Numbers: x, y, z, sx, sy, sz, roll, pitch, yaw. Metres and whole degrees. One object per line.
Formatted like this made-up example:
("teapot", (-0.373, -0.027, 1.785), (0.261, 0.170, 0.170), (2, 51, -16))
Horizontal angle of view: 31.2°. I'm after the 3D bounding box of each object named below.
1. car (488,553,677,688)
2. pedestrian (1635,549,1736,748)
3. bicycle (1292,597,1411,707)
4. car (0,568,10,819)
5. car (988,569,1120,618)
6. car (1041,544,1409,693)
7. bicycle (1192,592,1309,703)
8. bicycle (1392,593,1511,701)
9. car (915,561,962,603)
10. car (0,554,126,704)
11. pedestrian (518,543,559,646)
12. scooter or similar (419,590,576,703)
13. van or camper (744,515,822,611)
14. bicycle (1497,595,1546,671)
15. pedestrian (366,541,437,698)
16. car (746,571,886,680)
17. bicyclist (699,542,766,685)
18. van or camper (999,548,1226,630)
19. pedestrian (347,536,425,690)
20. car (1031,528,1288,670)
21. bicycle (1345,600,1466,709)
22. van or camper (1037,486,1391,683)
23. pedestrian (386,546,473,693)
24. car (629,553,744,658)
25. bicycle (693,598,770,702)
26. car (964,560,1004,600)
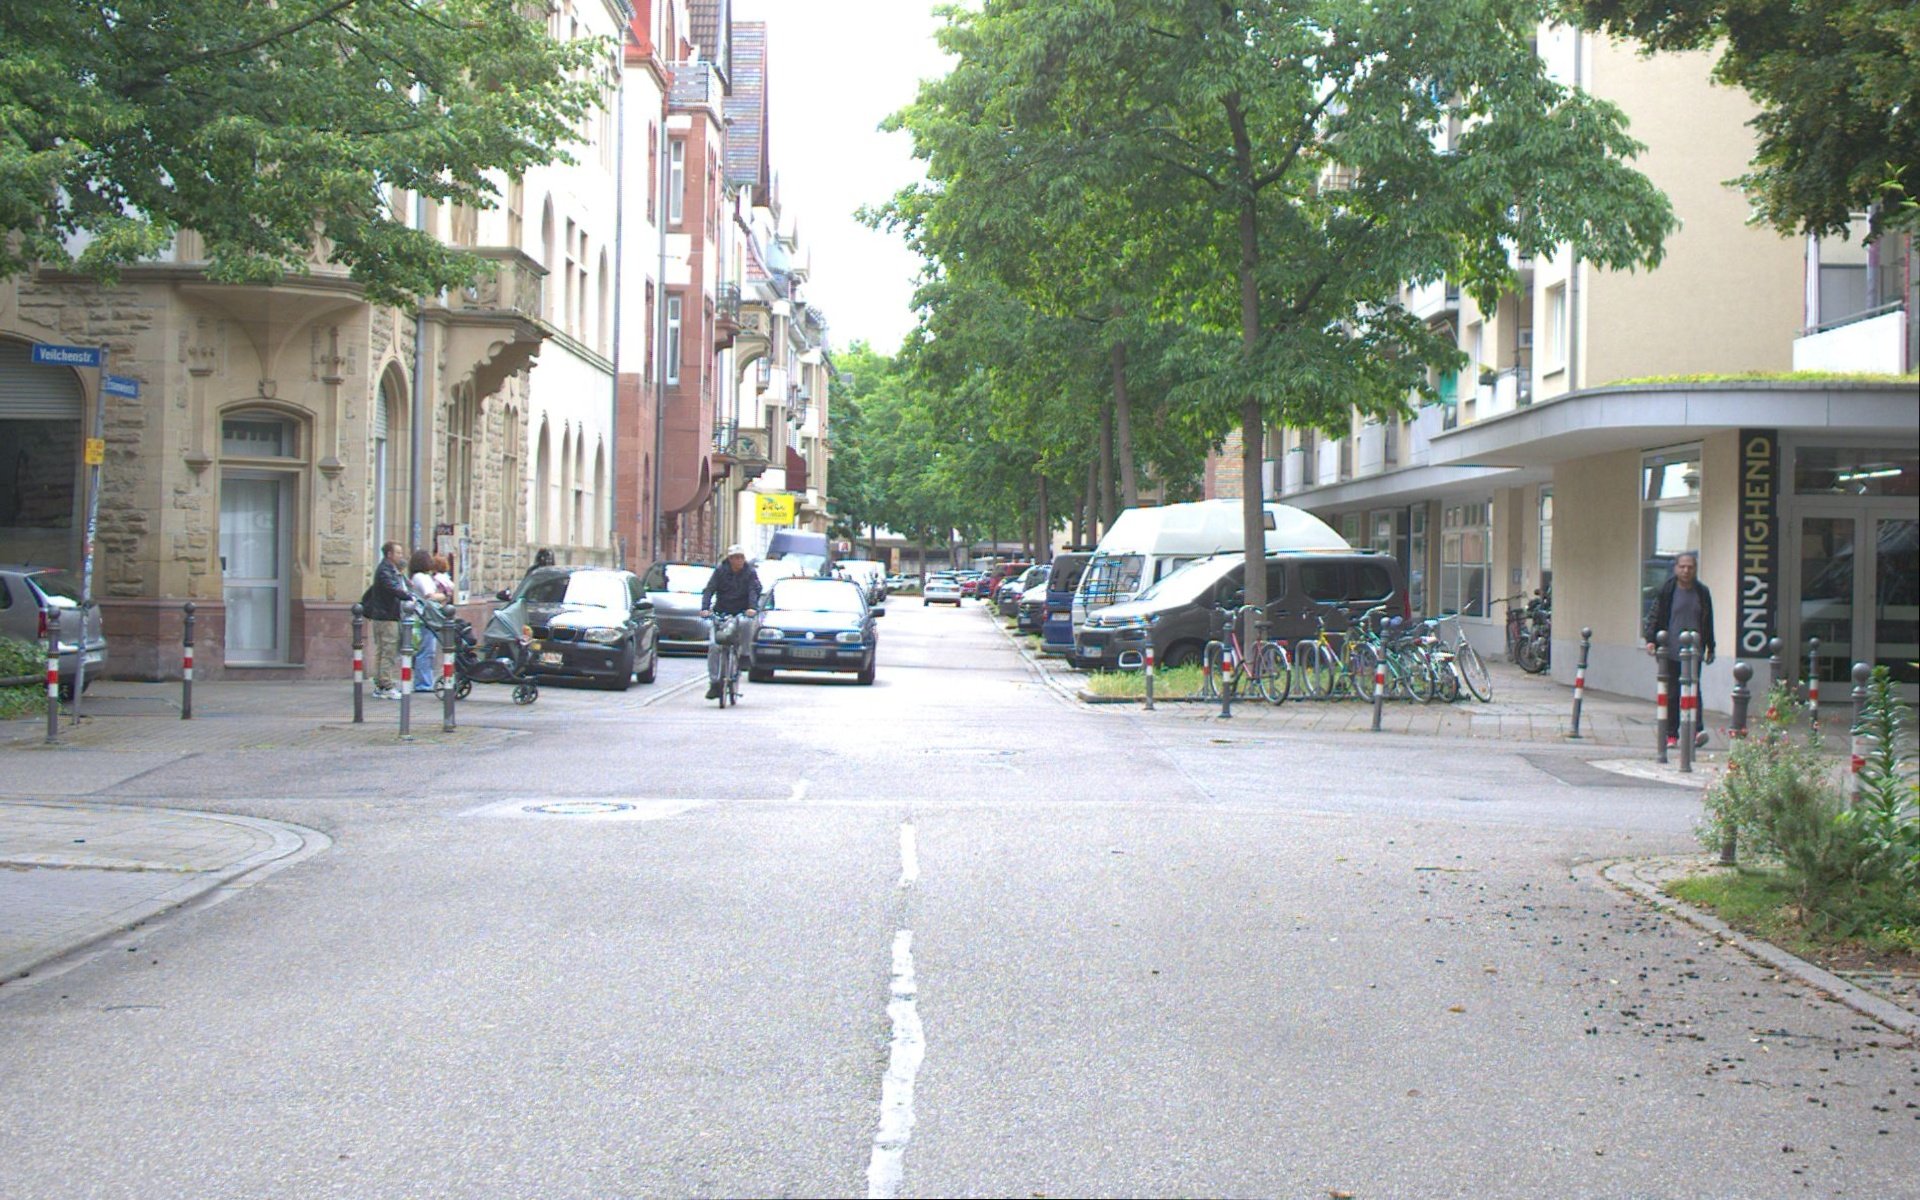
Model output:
("car", (-4.526, 0.254, 41.727), (1.709, 1.489, 4.000), (3, -1, 1))
("pedestrian", (6.662, 0.442, 31.597), (0.779, 1.791, 0.509), (2, 1, 2))
("bicycle", (4.355, 0.569, 38.308), (0.548, 1.169, 1.729), (1, 1, -22))
("car", (-4.338, 0.596, 10.507), (1.727, 1.429, 3.882), (3, 1, 0))
("car", (3.161, -0.217, 115.421), (4.010, 1.554, 1.885), (1, 0, -31))
("car", (3.415, 0.232, 44.283), (4.331, 1.848, 1.911), (1, 1, -25))
("bicycle", (3.175, 0.511, 37.753), (0.548, 1.169, 1.729), (1, 1, -22))
("bicycle", (5.561, 0.522, 38.984), (0.548, 1.169, 1.698), (1, 1, -22))
("car", (-0.957, -0.803, 155.622), (1.993, 1.788, 4.000), (3, -1, 1))
("car", (-10.639, 0.271, 35.479), (3.570, 1.455, 1.649), (0, 2, 9))
("pedestrian", (-6.250, -0.081, 50.953), (0.515, 1.513, 0.546), (1, 0, 0))
("scooter or similar", (-4.920, 0.486, 36.598), (1.470, 1.100, 0.675), (3, 1, 12))
("van or camper", (-5.250, -1.142, 102.715), (2.008, 2.642, 5.317), (1, 3, 0))
("bicycle", (8.297, 0.480, 50.870), (0.484, 1.086, 1.700), (1, 1, 2))
("pedestrian", (-5.950, 0.209, 36.625), (0.528, 1.638, 0.528), (3, 1, 12))
("car", (-1.920, 0.352, 46.725), (1.708, 1.408, 3.852), (1, -1, 0))
("bicyclist", (-2.463, 0.139, 37.260), (0.648, 1.533, 0.677), (0, 0, 2))
("van or camper", (3.636, -0.271, 81.984), (5.005, 1.863, 2.127), (-1, 0, -27))
("pedestrian", (-6.219, 0.136, 37.276), (0.616, 1.638, 0.603), (2, 1, 12))
("car", (3.284, -0.029, 55.782), (2.065, 2.189, 4.389), (1, 1, 37))
("bicycle", (4.991, 0.600, 38.609), (0.548, 1.169, 1.729), (1, 1, -22))
("van or camper", (3.509, -0.210, 47.193), (4.582, 2.587, 1.911), (0, 1, -32))
("pedestrian", (-5.860, 0.212, 37.978), (0.631, 1.588, 0.668), (2, 1, 41))
("car", (-4.477, 0.067, 56.544), (1.646, 1.565, 2.957), (3, 1, -1))
("bicycle", (-2.465, 0.531, 37.262), (0.634, 1.090, 1.799), (1, 0, 2))
("car", (1.295, -1.081, 185.887), (1.993, 2.007, 4.000), (4, 0, -1))
